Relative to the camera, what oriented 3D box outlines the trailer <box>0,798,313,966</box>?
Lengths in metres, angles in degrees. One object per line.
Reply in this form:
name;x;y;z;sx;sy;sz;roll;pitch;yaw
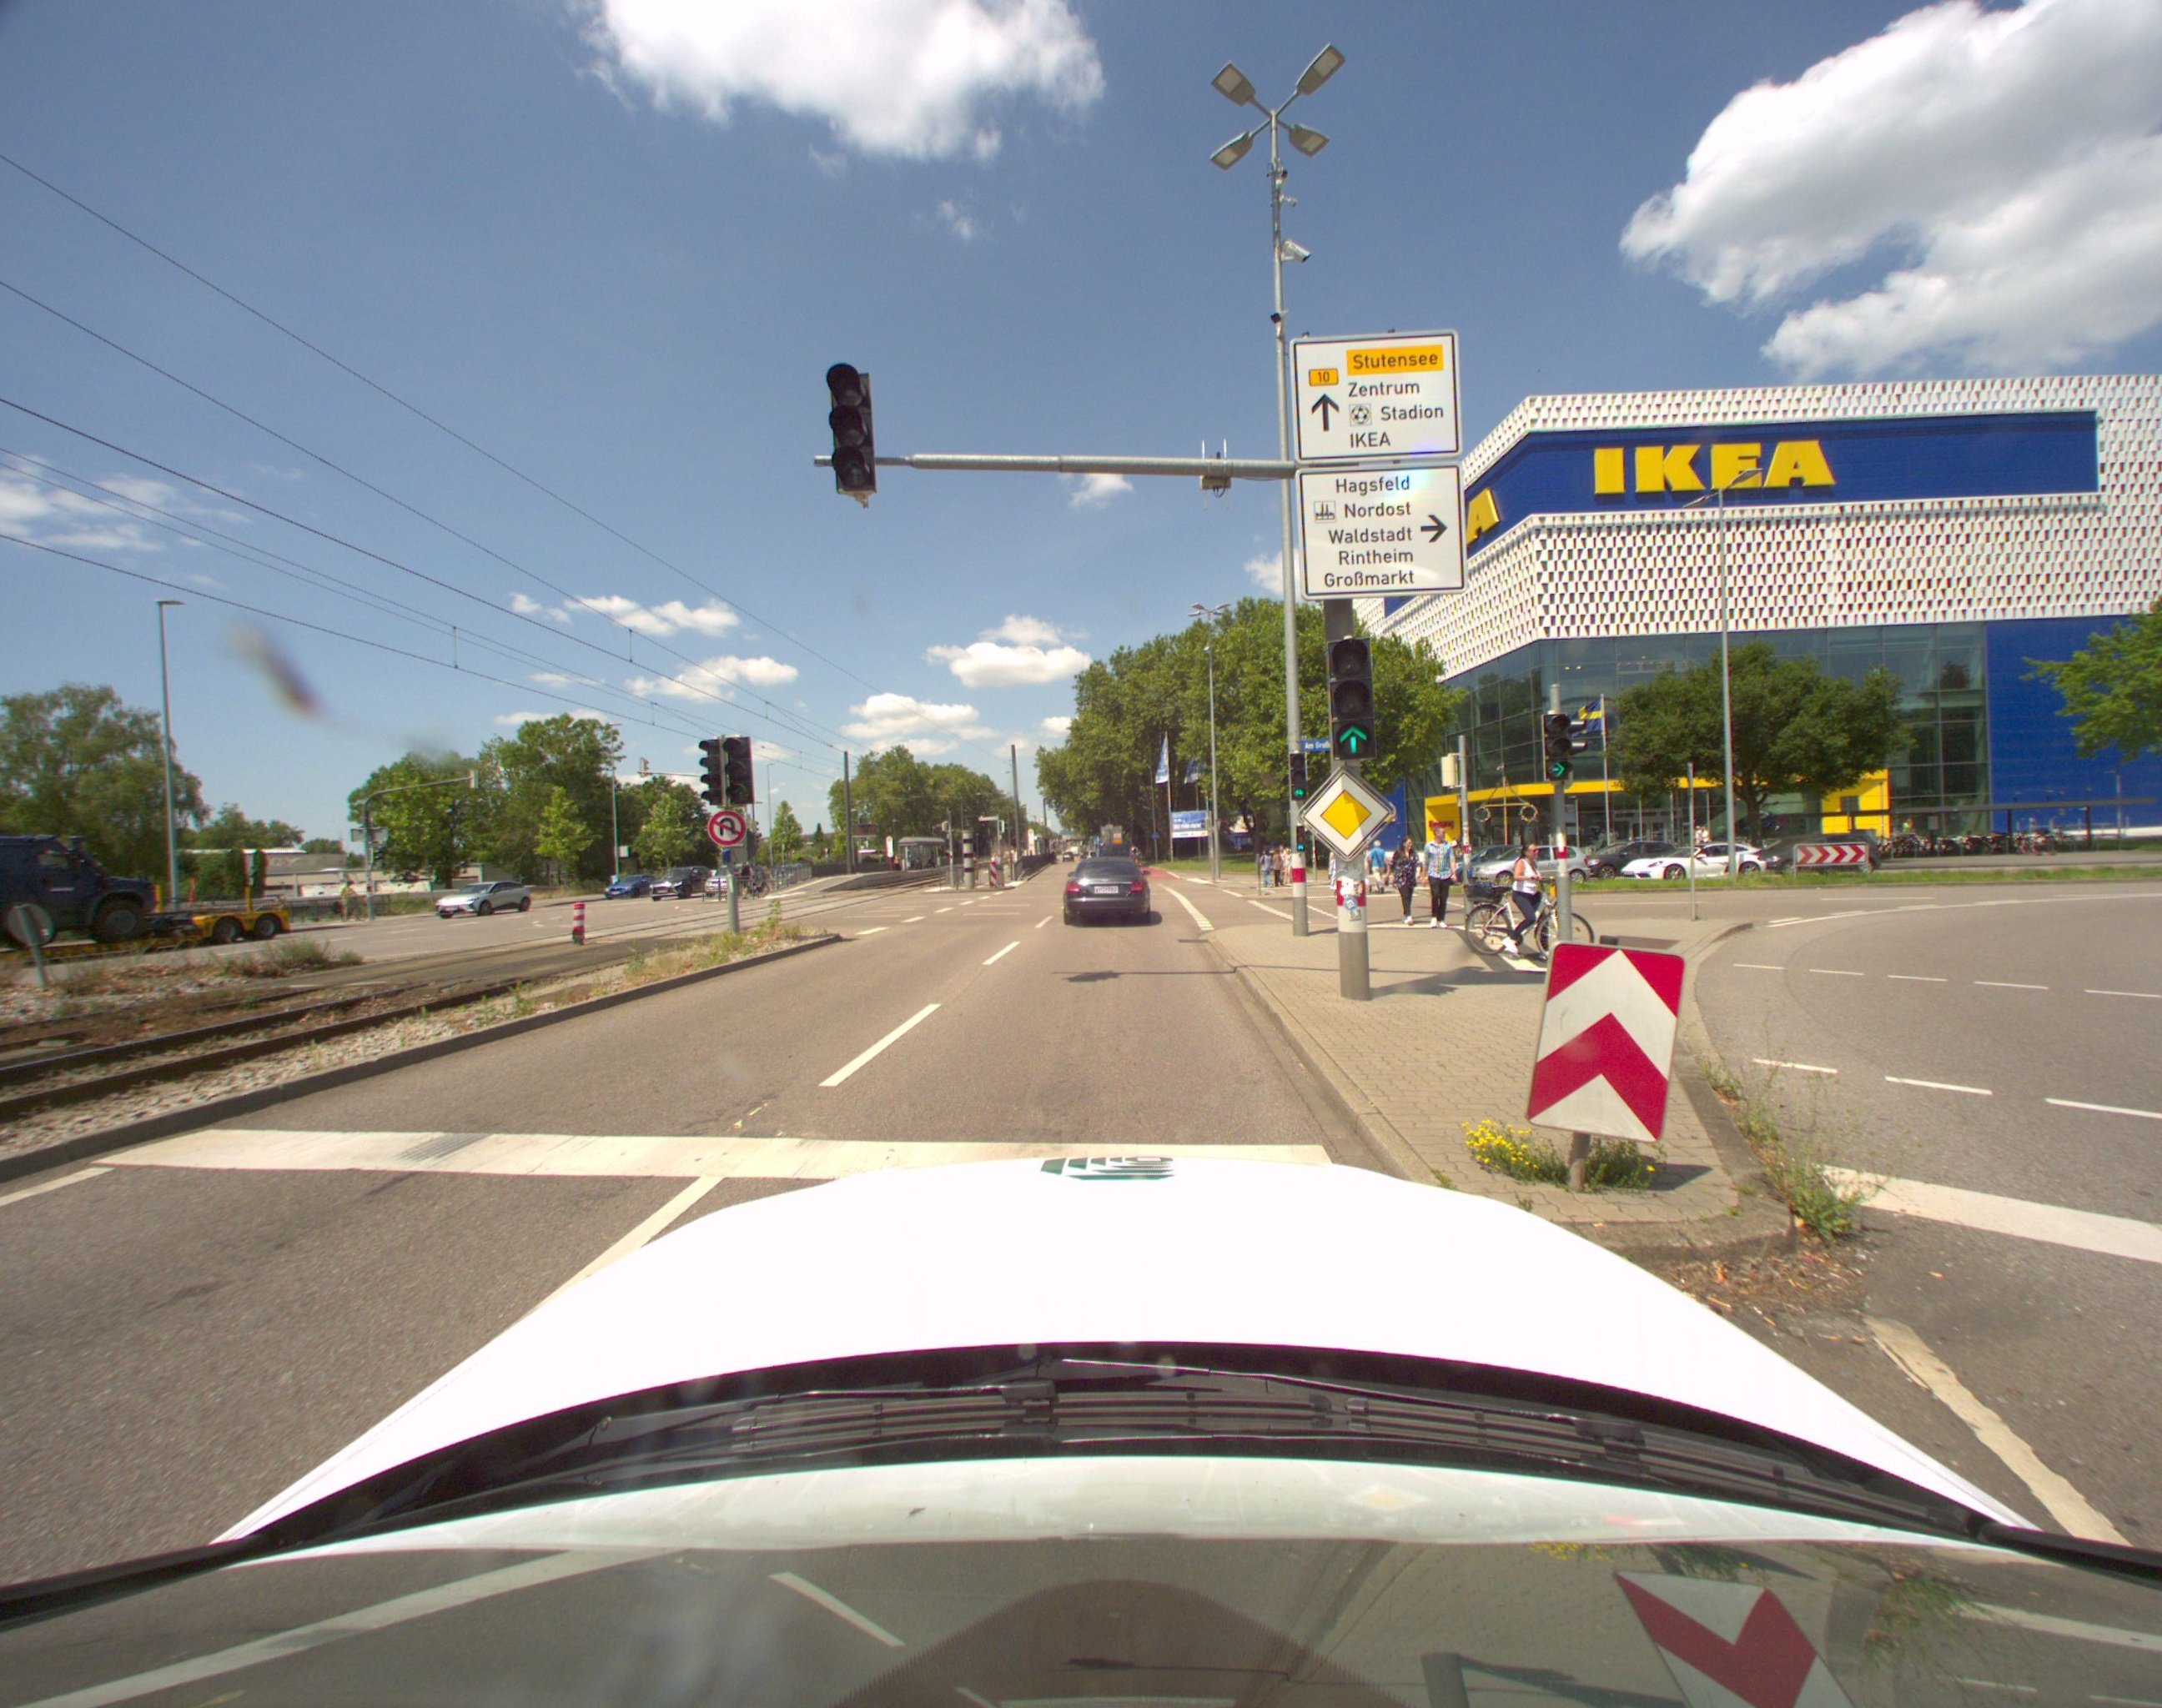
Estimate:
trailer;-26.490;0.680;19.149;3.109;3.870;15.459;-1;0;-4

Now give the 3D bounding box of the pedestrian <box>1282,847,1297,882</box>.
pedestrian;9.486;0.464;37.144;0.524;1.580;0.612;-1;0;4

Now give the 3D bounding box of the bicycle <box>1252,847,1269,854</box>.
bicycle;26.690;-0.525;121.120;2.312;0.960;0.757;-1;0;-6

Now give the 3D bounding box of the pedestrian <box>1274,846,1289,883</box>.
pedestrian;8.987;0.471;36.559;0.524;1.666;0.641;-1;0;4

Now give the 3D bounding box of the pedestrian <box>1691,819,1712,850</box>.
pedestrian;40.953;-1.297;53.761;0.792;2.013;0.735;-2;0;12

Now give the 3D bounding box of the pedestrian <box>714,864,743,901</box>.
pedestrian;-15.859;1.264;36.639;0.954;1.610;0.763;-2;0;-3

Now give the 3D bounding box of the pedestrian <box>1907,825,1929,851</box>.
pedestrian;52.227;-0.978;50.803;0.765;1.586;0.579;-2;0;-6

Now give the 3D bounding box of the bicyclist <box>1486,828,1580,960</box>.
bicyclist;6.170;0.511;11.132;0.818;1.700;0.792;-2;2;-27

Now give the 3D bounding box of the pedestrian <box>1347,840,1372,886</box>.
pedestrian;10.094;0.321;29.584;0.789;1.659;0.856;-2;0;16

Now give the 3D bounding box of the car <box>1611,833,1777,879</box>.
car;20.696;0.060;27.651;4.199;1.398;1.806;-1;0;4

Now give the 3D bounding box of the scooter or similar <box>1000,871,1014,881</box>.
scooter or similar;-3.978;1.199;43.942;0.725;0.506;0.457;-2;0;-4

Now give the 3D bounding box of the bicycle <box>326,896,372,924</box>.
bicycle;-31.924;2.438;35.514;1.521;1.193;0.591;0;-2;7

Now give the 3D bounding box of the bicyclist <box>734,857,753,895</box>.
bicyclist;-14.737;0.952;35.559;0.665;1.615;0.729;-1;0;-16

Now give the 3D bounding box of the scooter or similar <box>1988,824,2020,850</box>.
scooter or similar;47.711;-0.882;42.105;0.399;1.319;1.136;-2;0;3

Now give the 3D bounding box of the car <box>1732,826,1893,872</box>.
car;27.645;-0.193;30.882;4.383;1.584;1.864;-1;0;2

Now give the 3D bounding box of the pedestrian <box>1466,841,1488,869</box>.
pedestrian;22.508;0.062;46.292;0.916;1.586;0.632;-2;0;-6

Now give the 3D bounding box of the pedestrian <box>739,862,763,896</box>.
pedestrian;-15.297;1.141;37.747;0.760;1.548;0.763;-2;0;-3

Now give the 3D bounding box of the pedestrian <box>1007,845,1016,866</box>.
pedestrian;-5.575;0.128;65.509;0.612;1.681;0.719;-1;0;-2

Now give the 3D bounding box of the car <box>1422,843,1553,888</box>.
car;15.362;0.414;30.940;3.977;1.555;1.999;-1;0;-2

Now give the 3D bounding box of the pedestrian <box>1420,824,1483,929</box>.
pedestrian;6.827;0.406;15.059;0.800;1.865;0.798;-1;0;4

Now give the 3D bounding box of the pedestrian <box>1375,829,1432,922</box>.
pedestrian;6.322;0.417;15.993;0.800;1.759;0.798;-1;0;4

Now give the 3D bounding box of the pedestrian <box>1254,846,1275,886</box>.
pedestrian;7.627;0.501;33.826;0.759;1.606;0.900;-1;0;17

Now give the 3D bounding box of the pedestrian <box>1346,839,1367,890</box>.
pedestrian;9.004;0.349;26.619;0.601;1.638;0.868;-2;-1;17

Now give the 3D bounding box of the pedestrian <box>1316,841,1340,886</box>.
pedestrian;9.195;0.346;30.342;0.789;1.659;0.856;-2;0;16

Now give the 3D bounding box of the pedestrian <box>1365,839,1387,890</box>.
pedestrian;9.620;0.339;26.540;0.597;1.638;0.868;-2;-1;17

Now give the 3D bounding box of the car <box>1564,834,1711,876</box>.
car;21.161;0.027;31.068;4.388;1.443;1.852;-1;0;-1

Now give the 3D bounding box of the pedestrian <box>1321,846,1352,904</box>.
pedestrian;6.648;0.531;21.210;0.586;1.476;0.807;-1;0;5

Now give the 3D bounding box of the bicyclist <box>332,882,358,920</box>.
bicyclist;-32.133;2.032;35.537;0.582;1.610;0.545;-2;0;6

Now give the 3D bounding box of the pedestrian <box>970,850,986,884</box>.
pedestrian;-5.180;0.641;40.915;0.730;1.673;0.677;-1;0;-4

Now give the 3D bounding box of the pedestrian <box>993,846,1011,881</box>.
pedestrian;-4.242;0.497;43.721;0.861;1.802;0.882;-1;0;-4

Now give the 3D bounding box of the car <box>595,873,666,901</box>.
car;-27.659;2.000;50.216;1.988;1.444;4.347;-1;0;-1

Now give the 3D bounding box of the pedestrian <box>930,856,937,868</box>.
pedestrian;-15.690;0.852;86.869;0.574;1.190;0.639;-2;0;0

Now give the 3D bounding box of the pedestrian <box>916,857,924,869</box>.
pedestrian;-15.660;0.873;79.276;0.574;1.094;0.639;-2;0;0

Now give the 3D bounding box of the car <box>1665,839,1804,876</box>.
car;27.795;0.147;34.750;4.383;1.398;1.864;-1;0;2

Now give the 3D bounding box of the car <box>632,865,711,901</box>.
car;-21.258;1.445;42.480;1.987;1.629;4.001;-2;1;1

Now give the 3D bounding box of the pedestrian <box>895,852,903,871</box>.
pedestrian;-15.604;0.642;69.725;0.556;1.638;0.804;-2;0;-8

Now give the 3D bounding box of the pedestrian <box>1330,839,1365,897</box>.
pedestrian;7.847;0.396;24.029;0.778;1.672;0.948;-1;0;7

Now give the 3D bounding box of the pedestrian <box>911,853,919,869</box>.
pedestrian;-15.733;0.651;77.393;0.574;1.533;0.639;-2;0;0

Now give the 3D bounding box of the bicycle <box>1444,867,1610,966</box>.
bicycle;6.112;0.801;11.275;0.833;1.162;1.863;-2;1;-26

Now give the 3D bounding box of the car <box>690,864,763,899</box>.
car;-18.537;1.401;42.829;1.987;1.629;4.001;-1;0;1

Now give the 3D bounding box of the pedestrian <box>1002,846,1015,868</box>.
pedestrian;-5.566;0.211;62.235;0.888;1.605;0.923;-2;0;-2

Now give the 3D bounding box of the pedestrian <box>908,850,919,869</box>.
pedestrian;-15.473;0.543;75.099;0.729;1.729;0.582;-2;0;37

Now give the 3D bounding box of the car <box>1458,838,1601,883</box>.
car;15.088;0.204;27.548;3.809;1.397;1.804;-1;0;2

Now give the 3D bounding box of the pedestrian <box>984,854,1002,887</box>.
pedestrian;-4.282;0.789;39.574;0.783;1.572;0.763;-1;0;-4

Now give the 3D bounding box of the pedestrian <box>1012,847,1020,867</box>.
pedestrian;-5.120;0.228;64.222;0.496;1.577;0.556;-2;0;-2

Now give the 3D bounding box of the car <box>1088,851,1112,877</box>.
car;1.548;0.763;65.764;1.842;1.959;4.146;-1;0;1

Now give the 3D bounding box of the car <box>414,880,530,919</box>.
car;-27.144;1.989;36.509;1.988;1.463;4.277;-1;0;-1

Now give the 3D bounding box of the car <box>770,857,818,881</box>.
car;-20.941;1.098;59.581;1.987;1.629;4.001;-1;0;1

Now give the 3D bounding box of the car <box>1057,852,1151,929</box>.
car;0.590;0.732;18.254;1.834;1.484;4.004;-1;0;4

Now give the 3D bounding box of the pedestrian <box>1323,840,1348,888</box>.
pedestrian;9.114;0.345;29.212;0.789;1.659;0.856;-2;0;16

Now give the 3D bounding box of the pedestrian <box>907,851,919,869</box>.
pedestrian;-15.803;0.597;76.621;0.817;1.638;0.582;-2;0;37

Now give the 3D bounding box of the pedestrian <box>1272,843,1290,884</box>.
pedestrian;8.421;0.383;34.294;0.618;1.683;0.729;-1;0;17

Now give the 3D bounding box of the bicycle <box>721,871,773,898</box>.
bicycle;-14.617;1.337;35.695;1.976;1.101;0.760;-1;0;-16

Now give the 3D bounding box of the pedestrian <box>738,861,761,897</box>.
pedestrian;-15.967;1.211;39.214;0.760;1.672;0.763;-2;0;-3

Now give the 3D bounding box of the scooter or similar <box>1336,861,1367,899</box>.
scooter or similar;7.781;0.736;23.459;0.686;1.031;0.864;-2;0;7

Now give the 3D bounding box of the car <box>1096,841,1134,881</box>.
car;1.750;0.328;42.816;1.842;1.959;4.146;-1;0;1
